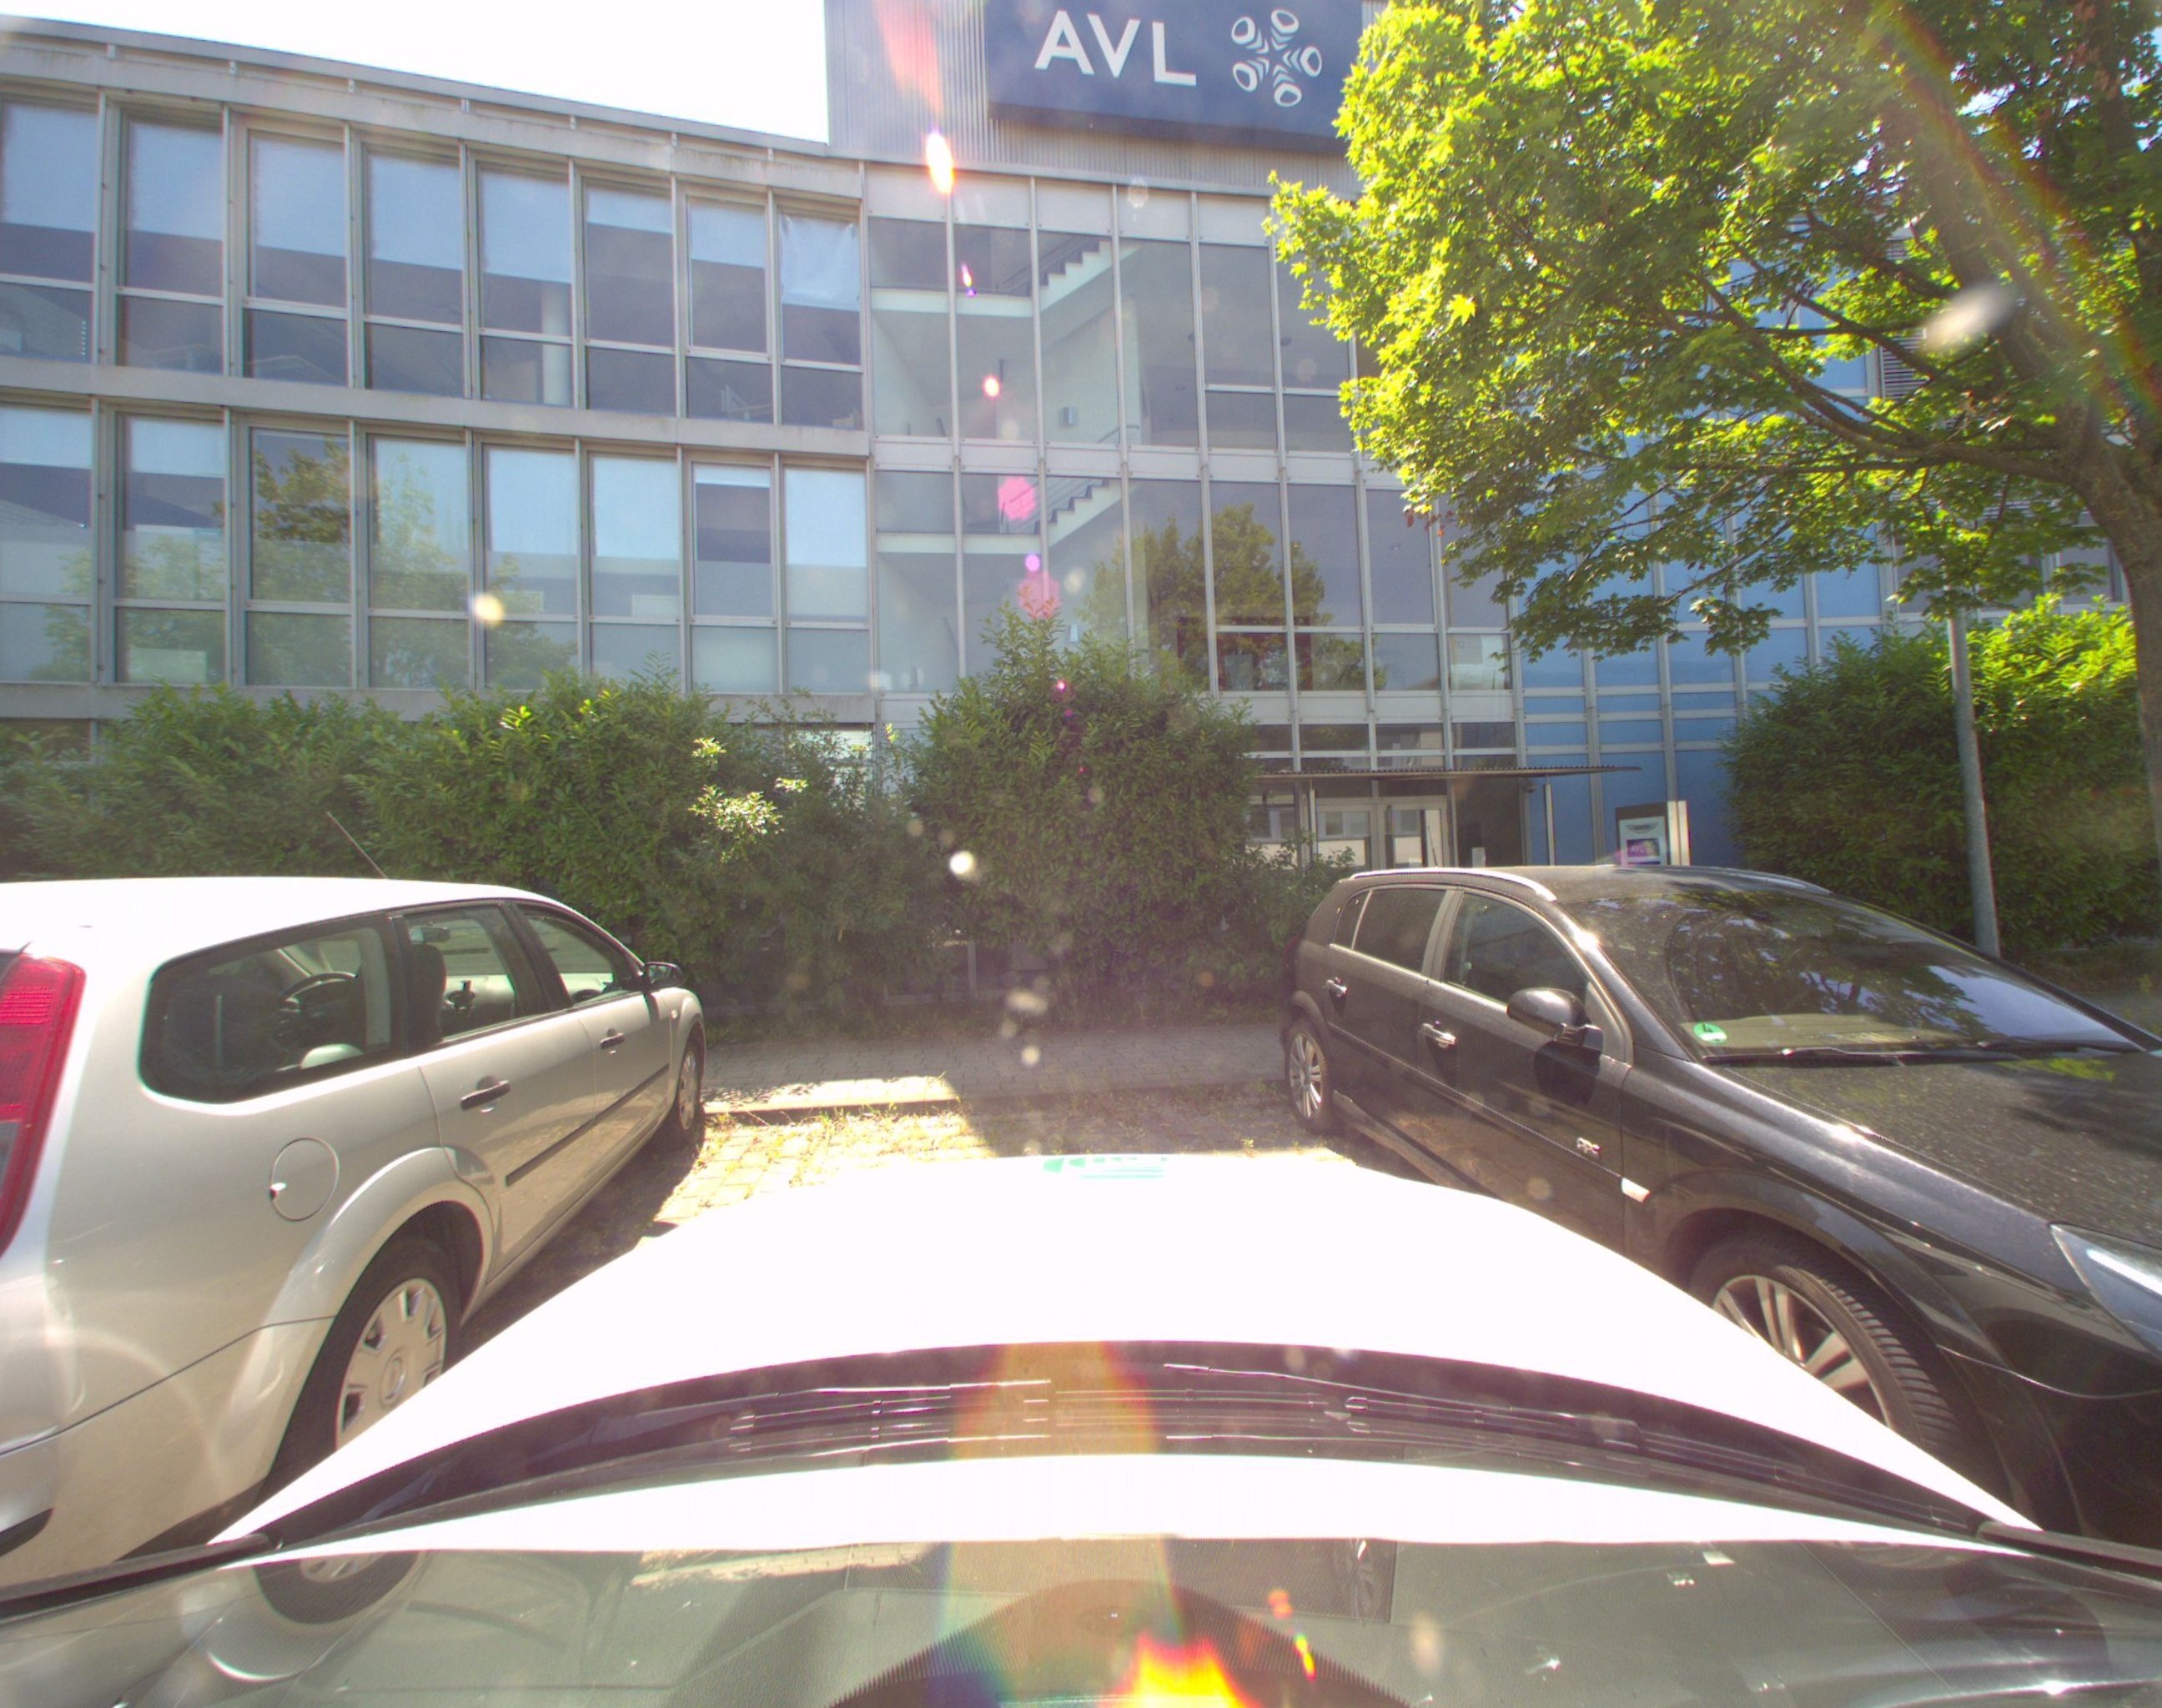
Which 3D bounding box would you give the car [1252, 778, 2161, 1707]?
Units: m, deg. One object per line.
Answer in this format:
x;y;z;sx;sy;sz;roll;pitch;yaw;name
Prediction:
2.243;0.698;3.229;1.756;1.549;4.555;-1;-1;-6;car

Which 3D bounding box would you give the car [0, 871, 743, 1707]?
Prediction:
-2.645;0.819;2.957;1.720;1.479;4.332;-1;-1;-10;car

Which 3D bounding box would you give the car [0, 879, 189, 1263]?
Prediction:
-4.741;0.826;1.899;1.649;1.479;3.874;-1;-1;-13;car

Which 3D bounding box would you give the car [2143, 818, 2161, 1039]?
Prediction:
9.063;0.542;4.047;1.847;1.643;4.326;-1;0;-4;car
